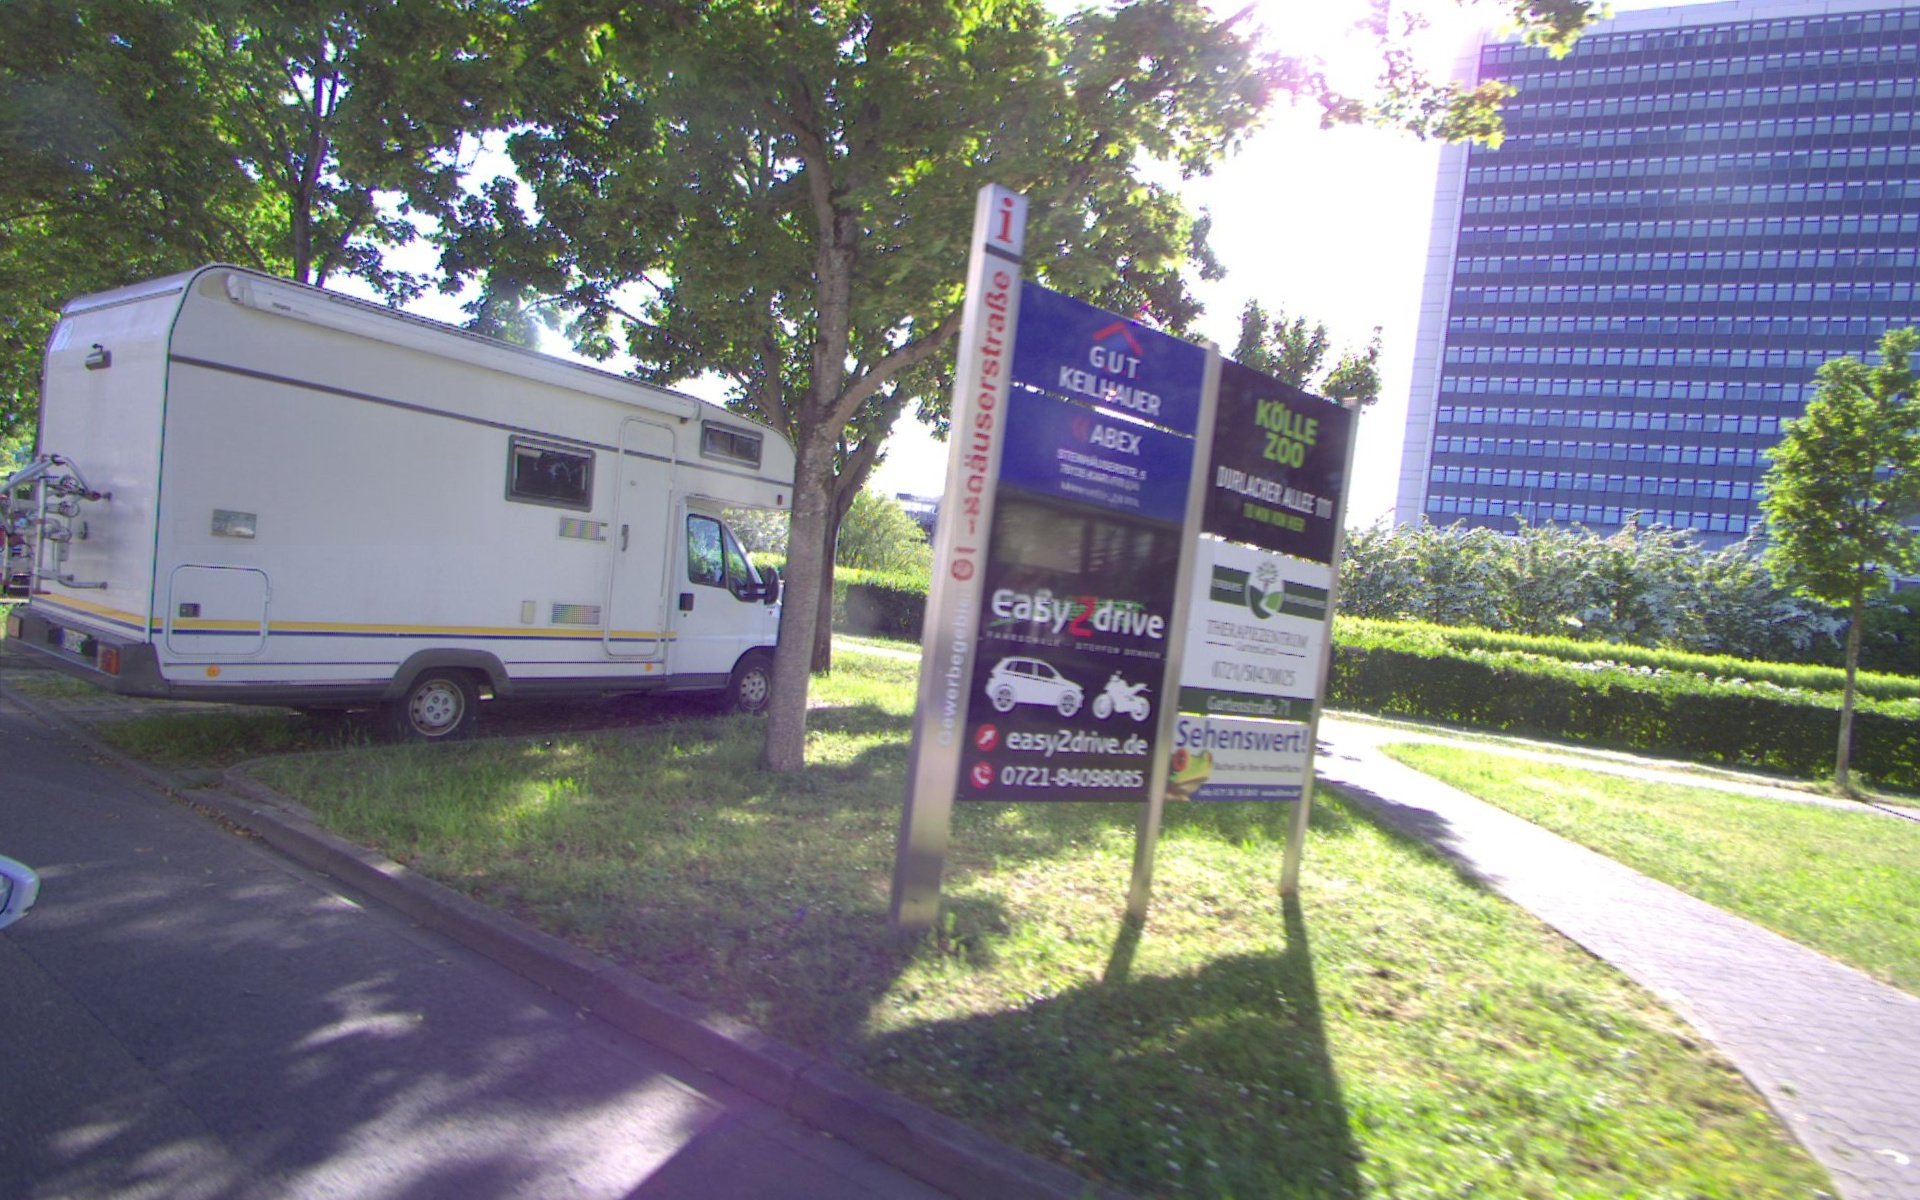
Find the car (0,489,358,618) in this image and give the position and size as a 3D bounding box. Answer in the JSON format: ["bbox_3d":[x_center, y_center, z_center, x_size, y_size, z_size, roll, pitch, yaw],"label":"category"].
[{"bbox_3d":[-11.836,-0.649,15.289,1.831,1.566,4.188,7,2,37],"label":"car"}]

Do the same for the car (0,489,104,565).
[{"bbox_3d":[-21.498,-1.702,22.385,1.602,1.565,3.430,7,2,37],"label":"car"}]

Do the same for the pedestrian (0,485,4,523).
[{"bbox_3d":[-41.830,-4.202,43.226,0.837,1.608,0.725,7,1,25],"label":"pedestrian"}]

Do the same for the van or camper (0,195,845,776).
[{"bbox_3d":[-4.033,-0.587,8.459,2.628,3.023,5.979,7,2,34],"label":"van or camper"}]

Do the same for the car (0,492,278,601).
[{"bbox_3d":[-13.941,-0.867,17.055,1.829,1.499,3.461,7,2,32],"label":"car"}]

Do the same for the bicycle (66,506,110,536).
[{"bbox_3d":[-30.630,-2.775,35.346,1.382,0.878,0.347,6,2,12],"label":"bicycle"}]
